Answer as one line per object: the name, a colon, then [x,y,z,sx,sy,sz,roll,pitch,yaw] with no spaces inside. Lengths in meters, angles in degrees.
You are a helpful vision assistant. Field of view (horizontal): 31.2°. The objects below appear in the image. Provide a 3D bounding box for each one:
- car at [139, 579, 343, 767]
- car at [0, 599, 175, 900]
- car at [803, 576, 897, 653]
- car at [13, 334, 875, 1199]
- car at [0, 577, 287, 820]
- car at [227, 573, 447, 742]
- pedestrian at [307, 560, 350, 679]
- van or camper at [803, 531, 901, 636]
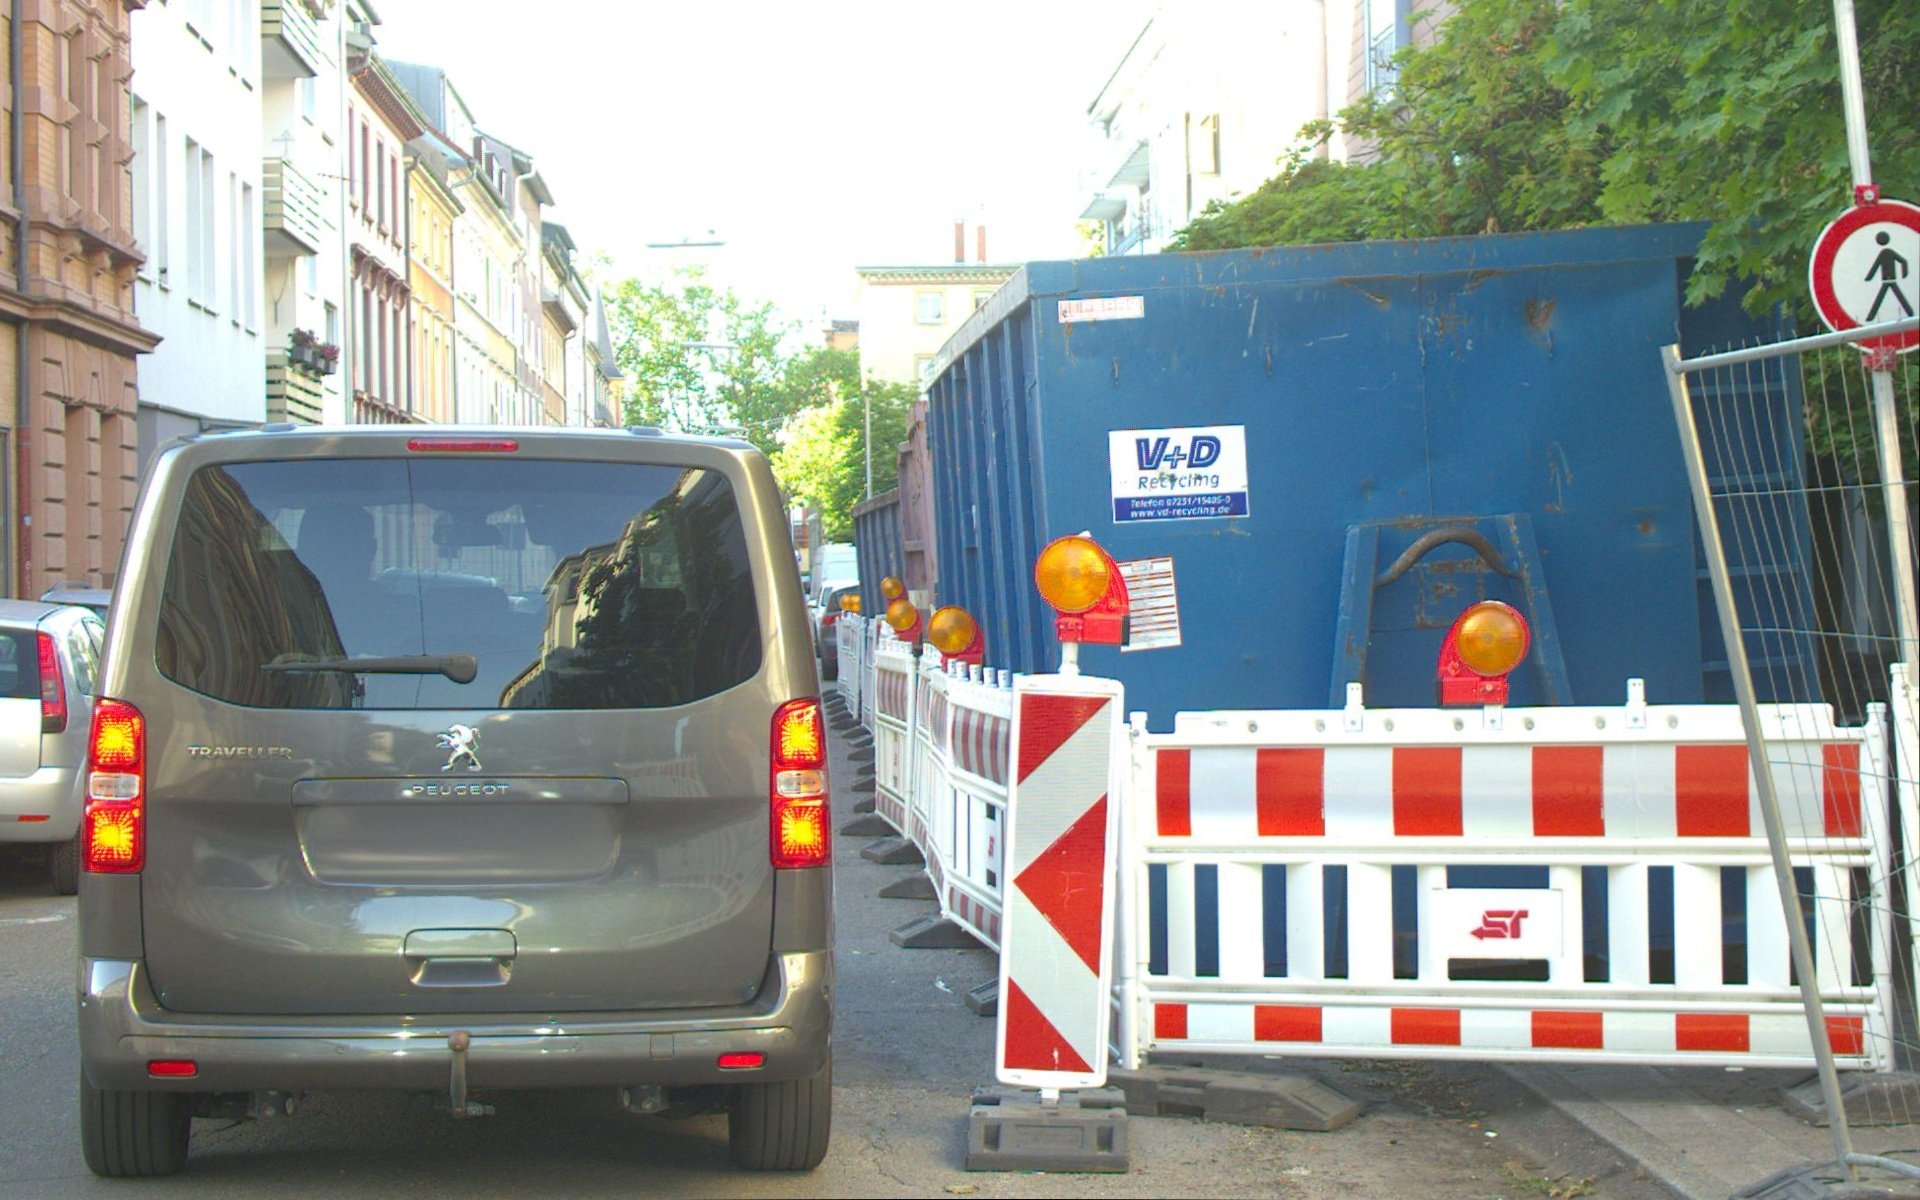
car: [-6.345,0.607,30.521,1.395,1.583,2.794,0,0,-4]
car: [-5.274,0.723,18.340,1.632,1.425,3.556,0,0,-5]
car: [-2.411,0.293,74.413,1.722,1.606,4.589,-1,0,-6]
car: [-1.301,0.413,9.798,1.857,2.007,4.001,-2,1,-4]
car: [-5.704,0.619,23.849,1.555,1.503,3.598,2,0,-4]
car: [-6.194,0.524,34.550,1.740,1.594,4.015,0,0,-4]
pedestrian: [-8.769,0.272,47.748,0.495,1.633,0.666,1,0,-3]
van or camper: [-2.889,-0.450,90.364,2.099,2.593,7.513,-2,0,-5]
